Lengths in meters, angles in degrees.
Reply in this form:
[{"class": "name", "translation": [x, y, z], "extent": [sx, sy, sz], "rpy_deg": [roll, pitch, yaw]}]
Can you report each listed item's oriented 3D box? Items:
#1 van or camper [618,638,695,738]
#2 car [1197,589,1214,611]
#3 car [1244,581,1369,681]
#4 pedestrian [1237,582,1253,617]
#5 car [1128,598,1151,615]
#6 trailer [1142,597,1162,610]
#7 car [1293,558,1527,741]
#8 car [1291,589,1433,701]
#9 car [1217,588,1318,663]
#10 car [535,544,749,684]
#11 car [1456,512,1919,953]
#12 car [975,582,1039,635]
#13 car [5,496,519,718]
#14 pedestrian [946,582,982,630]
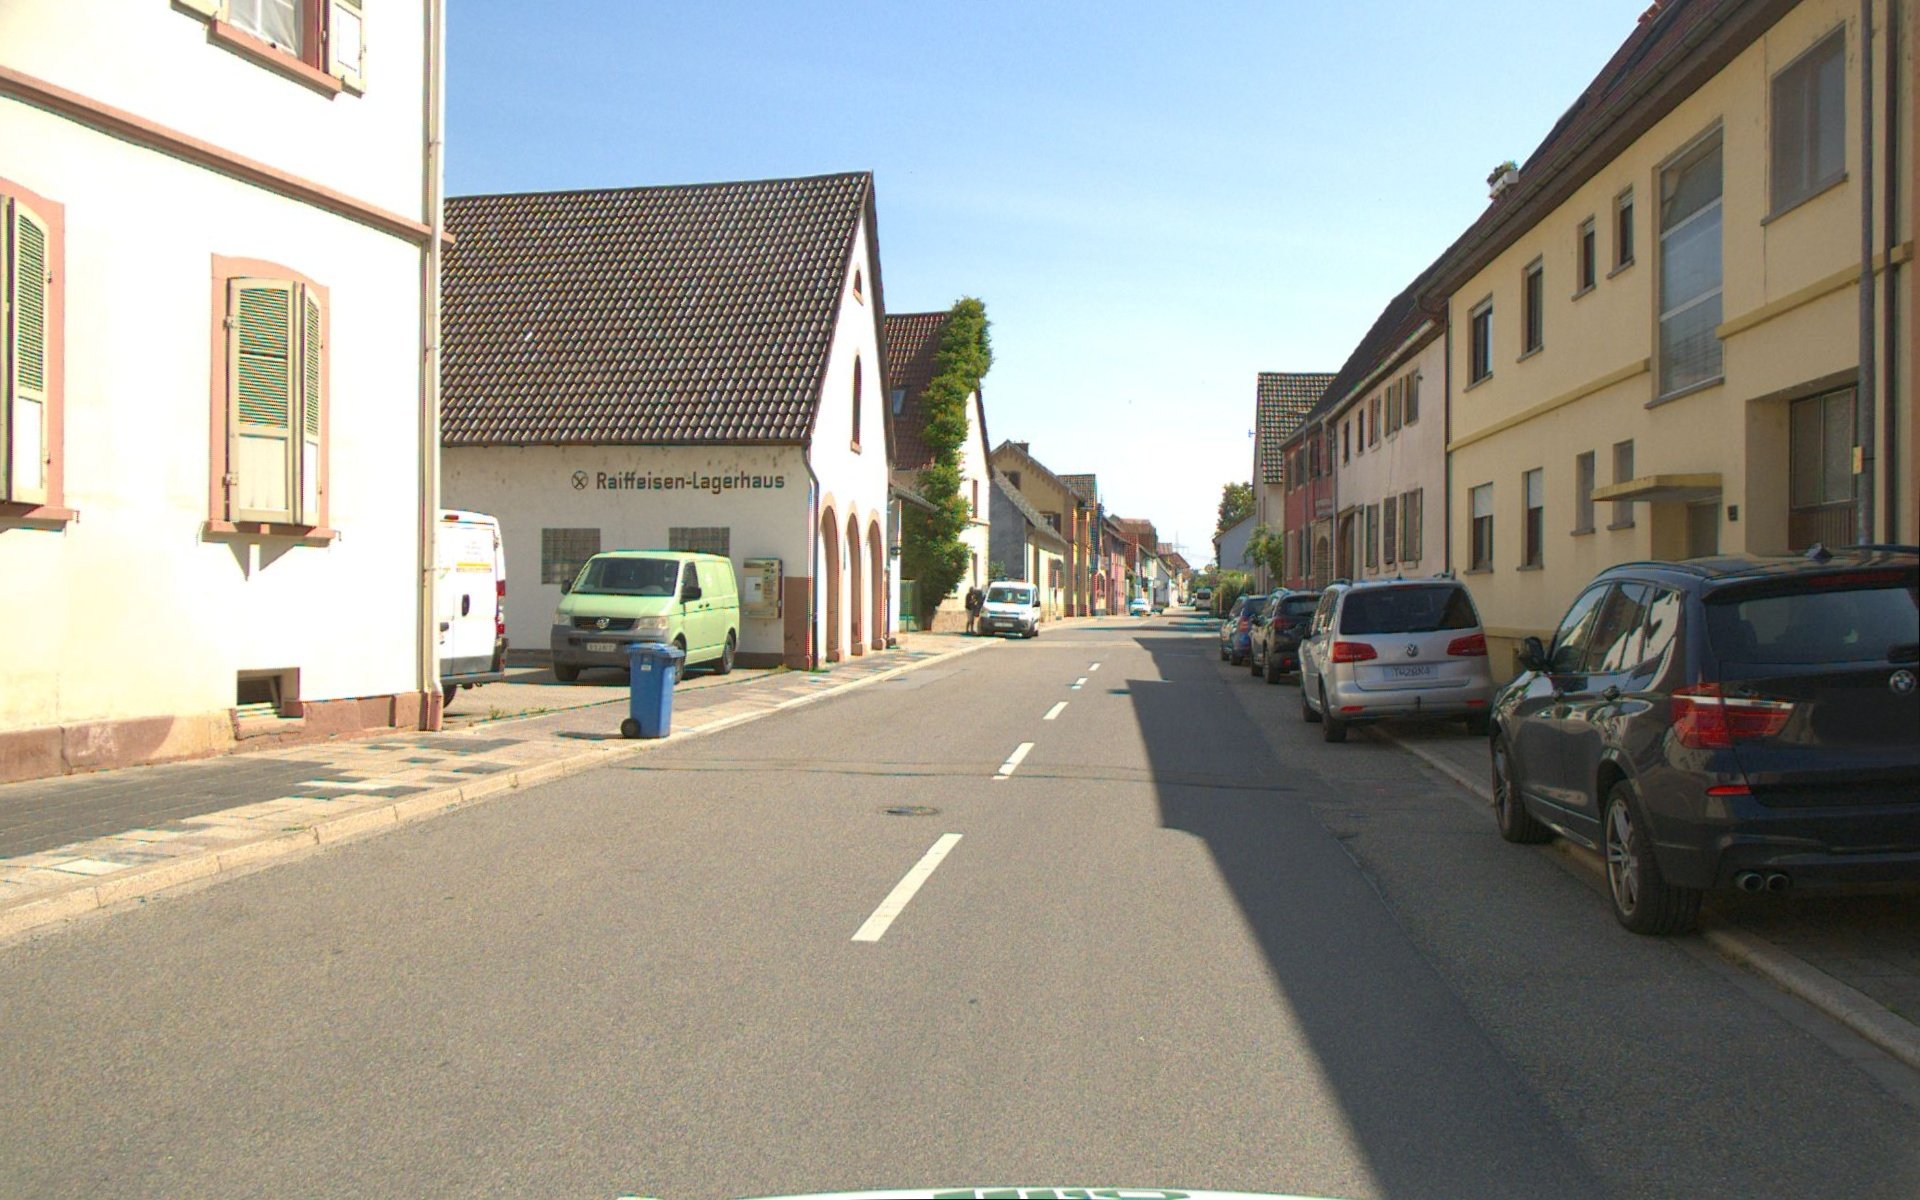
[{"class": "van or camper", "translation": [-3.080, 0.883, 16.814], "extent": [0.577, 0.968, 0.600], "rpy_deg": [1, 0, 12]}, {"class": "car", "translation": [29.182, -0.020, 196.727], "extent": [1.974, 2.612, 4.003], "rpy_deg": [0, 0, 7]}, {"class": "car", "translation": [5.960, 0.502, 28.822], "extent": [1.663, 1.611, 4.030], "rpy_deg": [-1, 0, 5]}, {"class": "pedestrian", "translation": [13.935, -0.031, 80.798], "extent": [0.703, 1.693, 0.893], "rpy_deg": [1, 0, 11]}, {"class": "car", "translation": [16.097, 0.587, 148.472], "extent": [1.951, 1.467, 4.003], "rpy_deg": [0, 0, 8]}, {"class": "trailer", "translation": [19.124, 0.355, 164.895], "extent": [1.951, 1.109, 4.004], "rpy_deg": [0, 2, 7]}, {"class": "car", "translation": [4.827, 0.477, 18.330], "extent": [1.858, 1.758, 4.252], "rpy_deg": [1, 0, 7]}, {"class": "car", "translation": [5.658, 0.593, 23.624], "extent": [1.518, 1.463, 3.723], "rpy_deg": [-1, 0, 7]}, {"class": "car", "translation": [6.530, 0.520, 35.514], "extent": [1.663, 1.495, 4.412], "rpy_deg": [-1, 0, 4]}, {"class": "car", "translation": [-4.891, 0.186, 26.175], "extent": [1.951, 1.999, 4.673], "rpy_deg": [0, 0, 7]}, {"class": "car", "translation": [4.112, 0.509, 9.063], "extent": [1.805, 1.732, 5.184], "rpy_deg": [0, 0, 7]}, {"class": "car", "translation": [1.603, 0.257, 54.830], "extent": [1.816, 1.676, 4.433], "rpy_deg": [0, 0, 5]}, {"class": "car", "translation": [-7.743, 0.021, 18.458], "extent": [5.067, 2.235, 2.124], "rpy_deg": [1, 0, 17]}, {"class": "pedestrian", "translation": [0.138, 0.193, 55.375], "extent": [1.112, 1.579, 1.017], "rpy_deg": [1, 0, 5]}]
